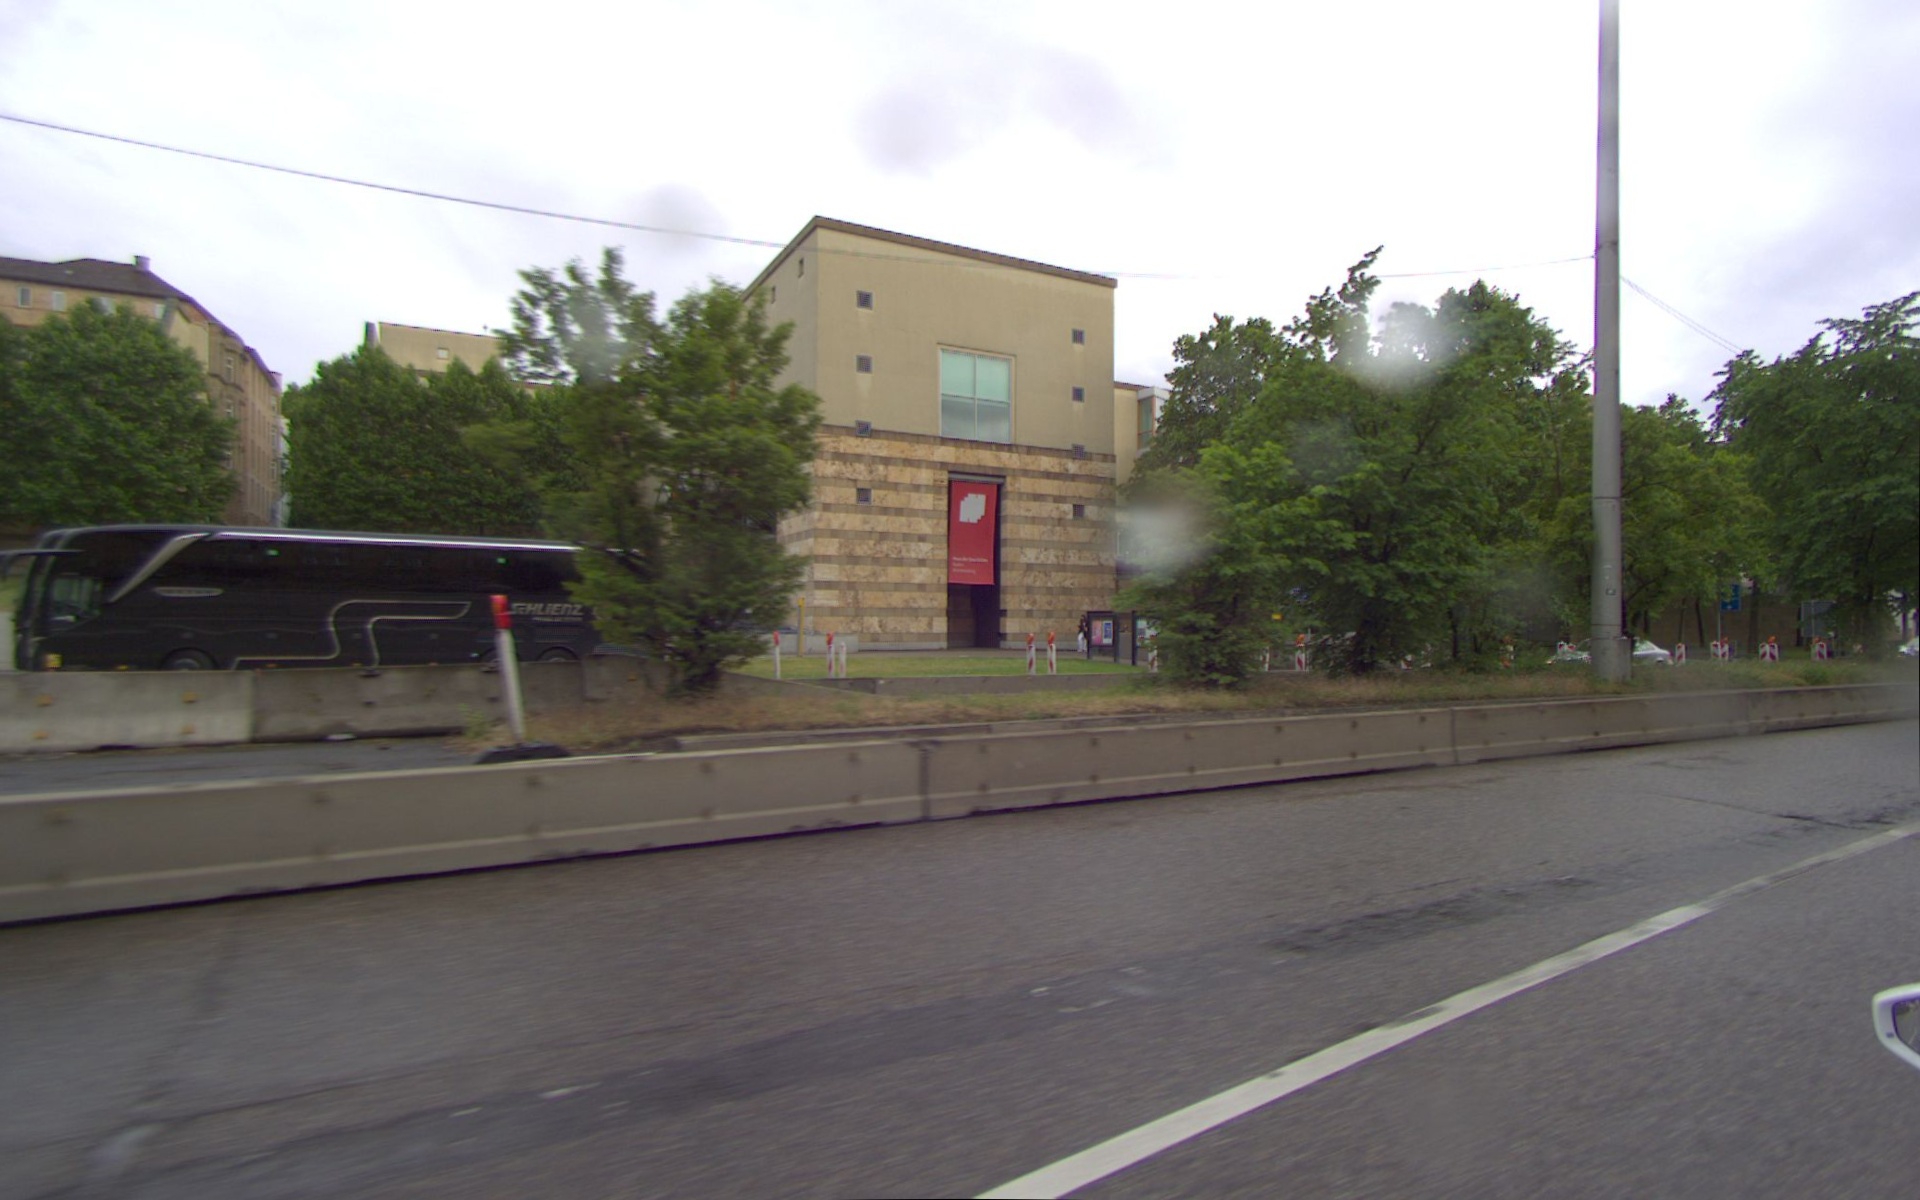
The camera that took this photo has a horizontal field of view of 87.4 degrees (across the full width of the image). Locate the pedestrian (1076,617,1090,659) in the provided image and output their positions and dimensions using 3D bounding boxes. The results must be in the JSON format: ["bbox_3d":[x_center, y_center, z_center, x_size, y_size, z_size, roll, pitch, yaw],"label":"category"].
[{"bbox_3d":[5.946,1.841,48.499,0.506,2.040,0.476,2,-3,-29],"label":"pedestrian"}]

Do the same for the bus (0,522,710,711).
[{"bbox_3d":[-13.750,0.461,24.876,14.403,3.862,2.795,1,0,-26],"label":"bus"}]

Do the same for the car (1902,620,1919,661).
[{"bbox_3d":[37.779,1.550,38.381,3.883,1.528,1.538,1,-1,-29],"label":"car"}]

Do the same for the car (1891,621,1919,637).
[{"bbox_3d":[103.364,3.131,108.364,1.976,1.617,3.969,1,-1,-29],"label":"car"}]

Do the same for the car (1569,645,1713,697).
[{"bbox_3d":[22.860,2.364,33.708,4.747,1.646,1.987,2,-3,-27],"label":"car"}]
